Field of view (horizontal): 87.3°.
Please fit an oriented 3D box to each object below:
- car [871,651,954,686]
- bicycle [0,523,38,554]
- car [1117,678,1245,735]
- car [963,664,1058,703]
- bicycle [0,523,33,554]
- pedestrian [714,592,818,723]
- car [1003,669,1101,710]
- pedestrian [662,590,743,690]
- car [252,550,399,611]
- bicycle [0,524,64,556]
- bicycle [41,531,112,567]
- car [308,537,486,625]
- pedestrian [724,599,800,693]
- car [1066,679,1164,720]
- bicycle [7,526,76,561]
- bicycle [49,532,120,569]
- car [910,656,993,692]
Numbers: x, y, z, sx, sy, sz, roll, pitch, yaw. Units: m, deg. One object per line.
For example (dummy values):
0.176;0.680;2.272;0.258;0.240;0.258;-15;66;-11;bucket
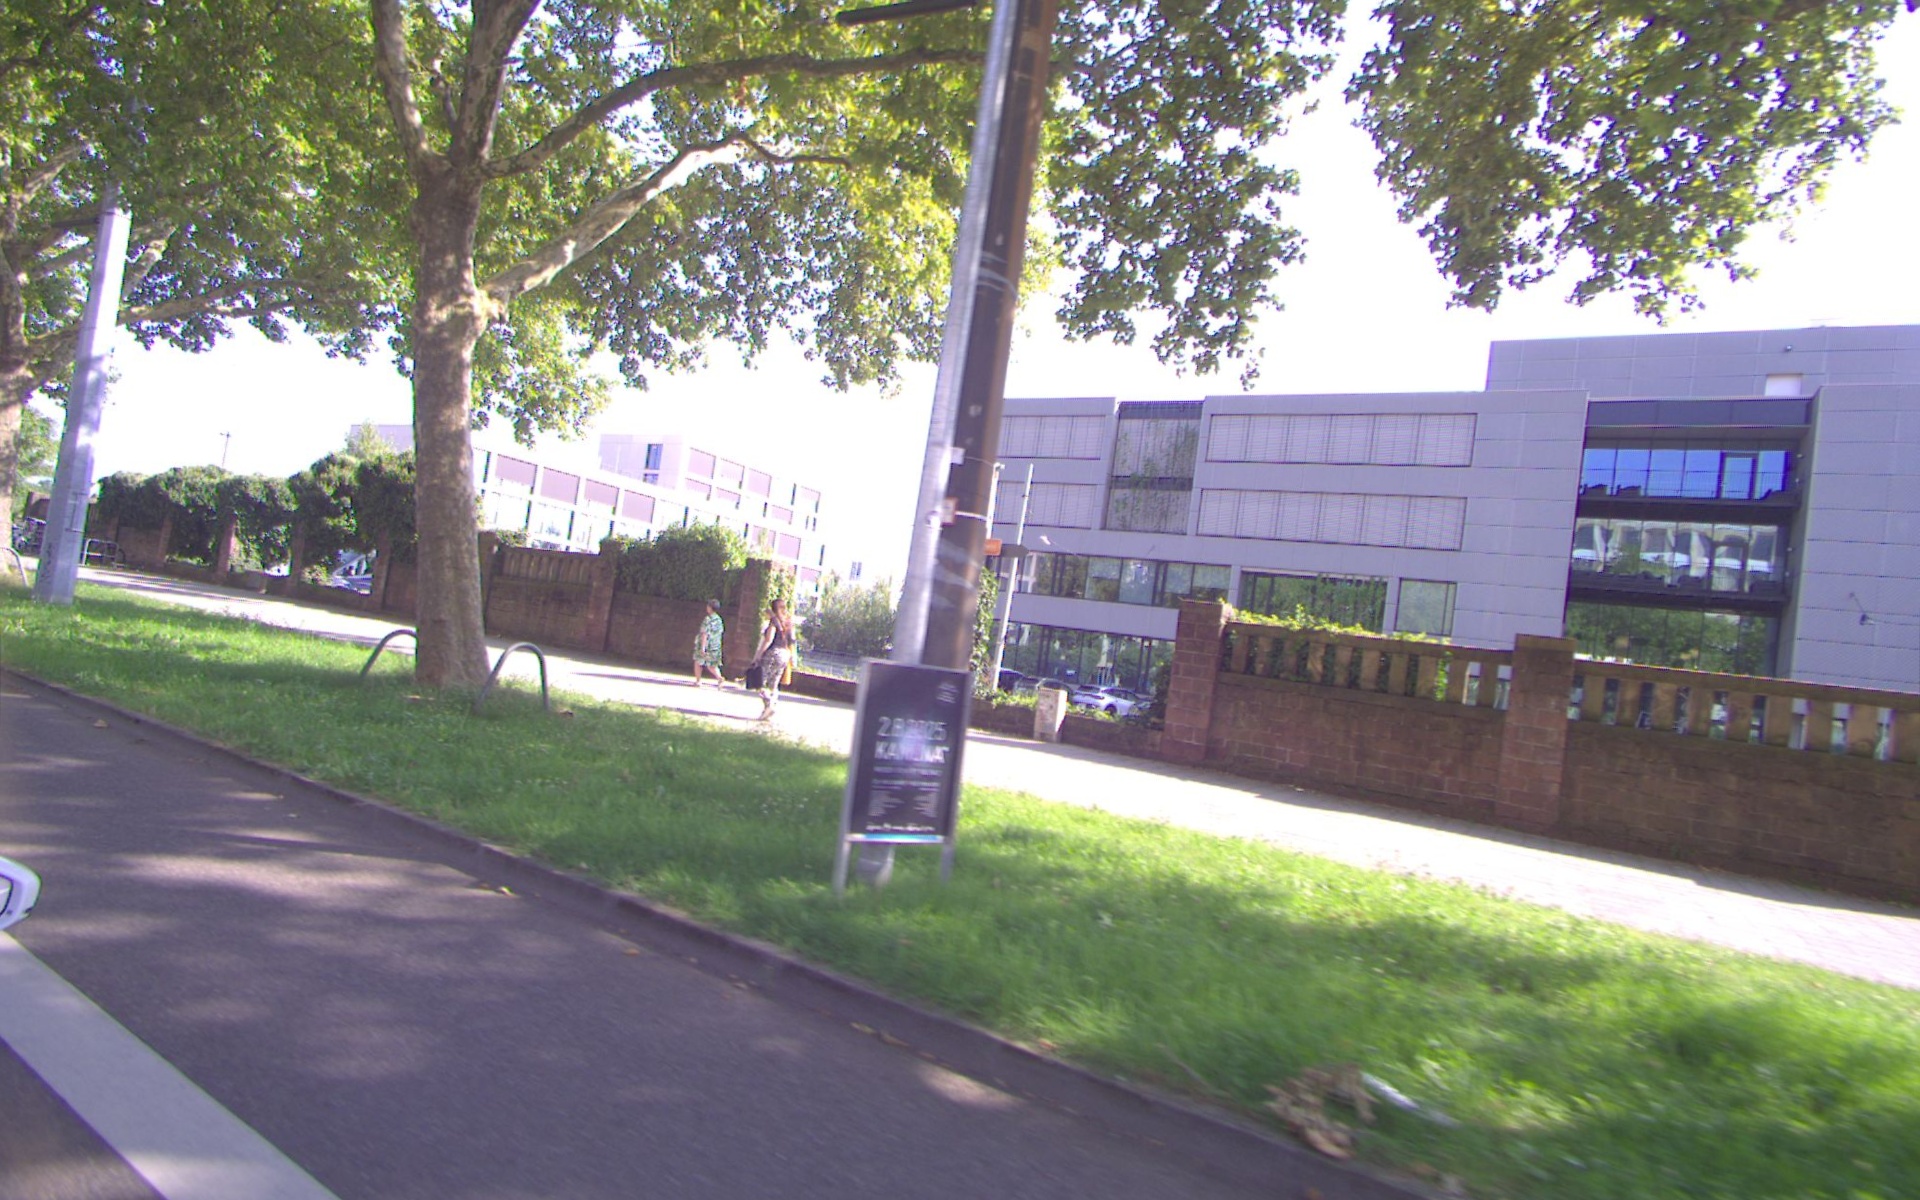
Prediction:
-2.365;3.511;51.361;1.818;1.308;4.478;6;-3;34;car
-35.216;-2.326;37.156;1.634;0.981;0.505;7;-1;-10;bicycle
8.382;4.033;38.201;4.431;1.528;1.837;9;-3;-25;car
2.431;3.979;47.790;4.460;1.308;1.826;10;-4;-43;car
-34.837;-2.280;36.531;1.634;0.981;0.505;7;-1;-10;bicycle
-2.673;0.793;13.876;0.931;1.655;0.807;6;-1;32;pedestrian
4.217;4.089;45.579;4.460;1.308;1.826;10;-4;-43;car
-4.562;0.717;17.826;0.931;1.623;0.807;6;-1;32;pedestrian
-25.631;-0.758;40.805;1.946;1.693;4.527;6;-3;35;car
-35.693;-2.292;38.720;0.498;0.981;1.658;6;-1;34;bicycle
-29.980;-1.730;34.157;0.498;0.981;1.657;6;-1;37;bicycle
-20.753;-0.635;37.297;2.097;2.394;5.140;6;-3;35;car
-3.701;0.870;18.846;0.931;1.623;0.807;6;-1;32;pedestrian
6.897;4.414;44.440;4.460;1.308;1.826;10;-4;-43;car
-32.404;-1.996;35.497;0.498;0.981;1.657;6;-1;37;bicycle
-29.367;-1.656;33.770;0.498;0.981;1.658;6;-1;33;bicycle
-0.357;3.735;50.204;1.818;1.308;4.478;6;-3;34;car
